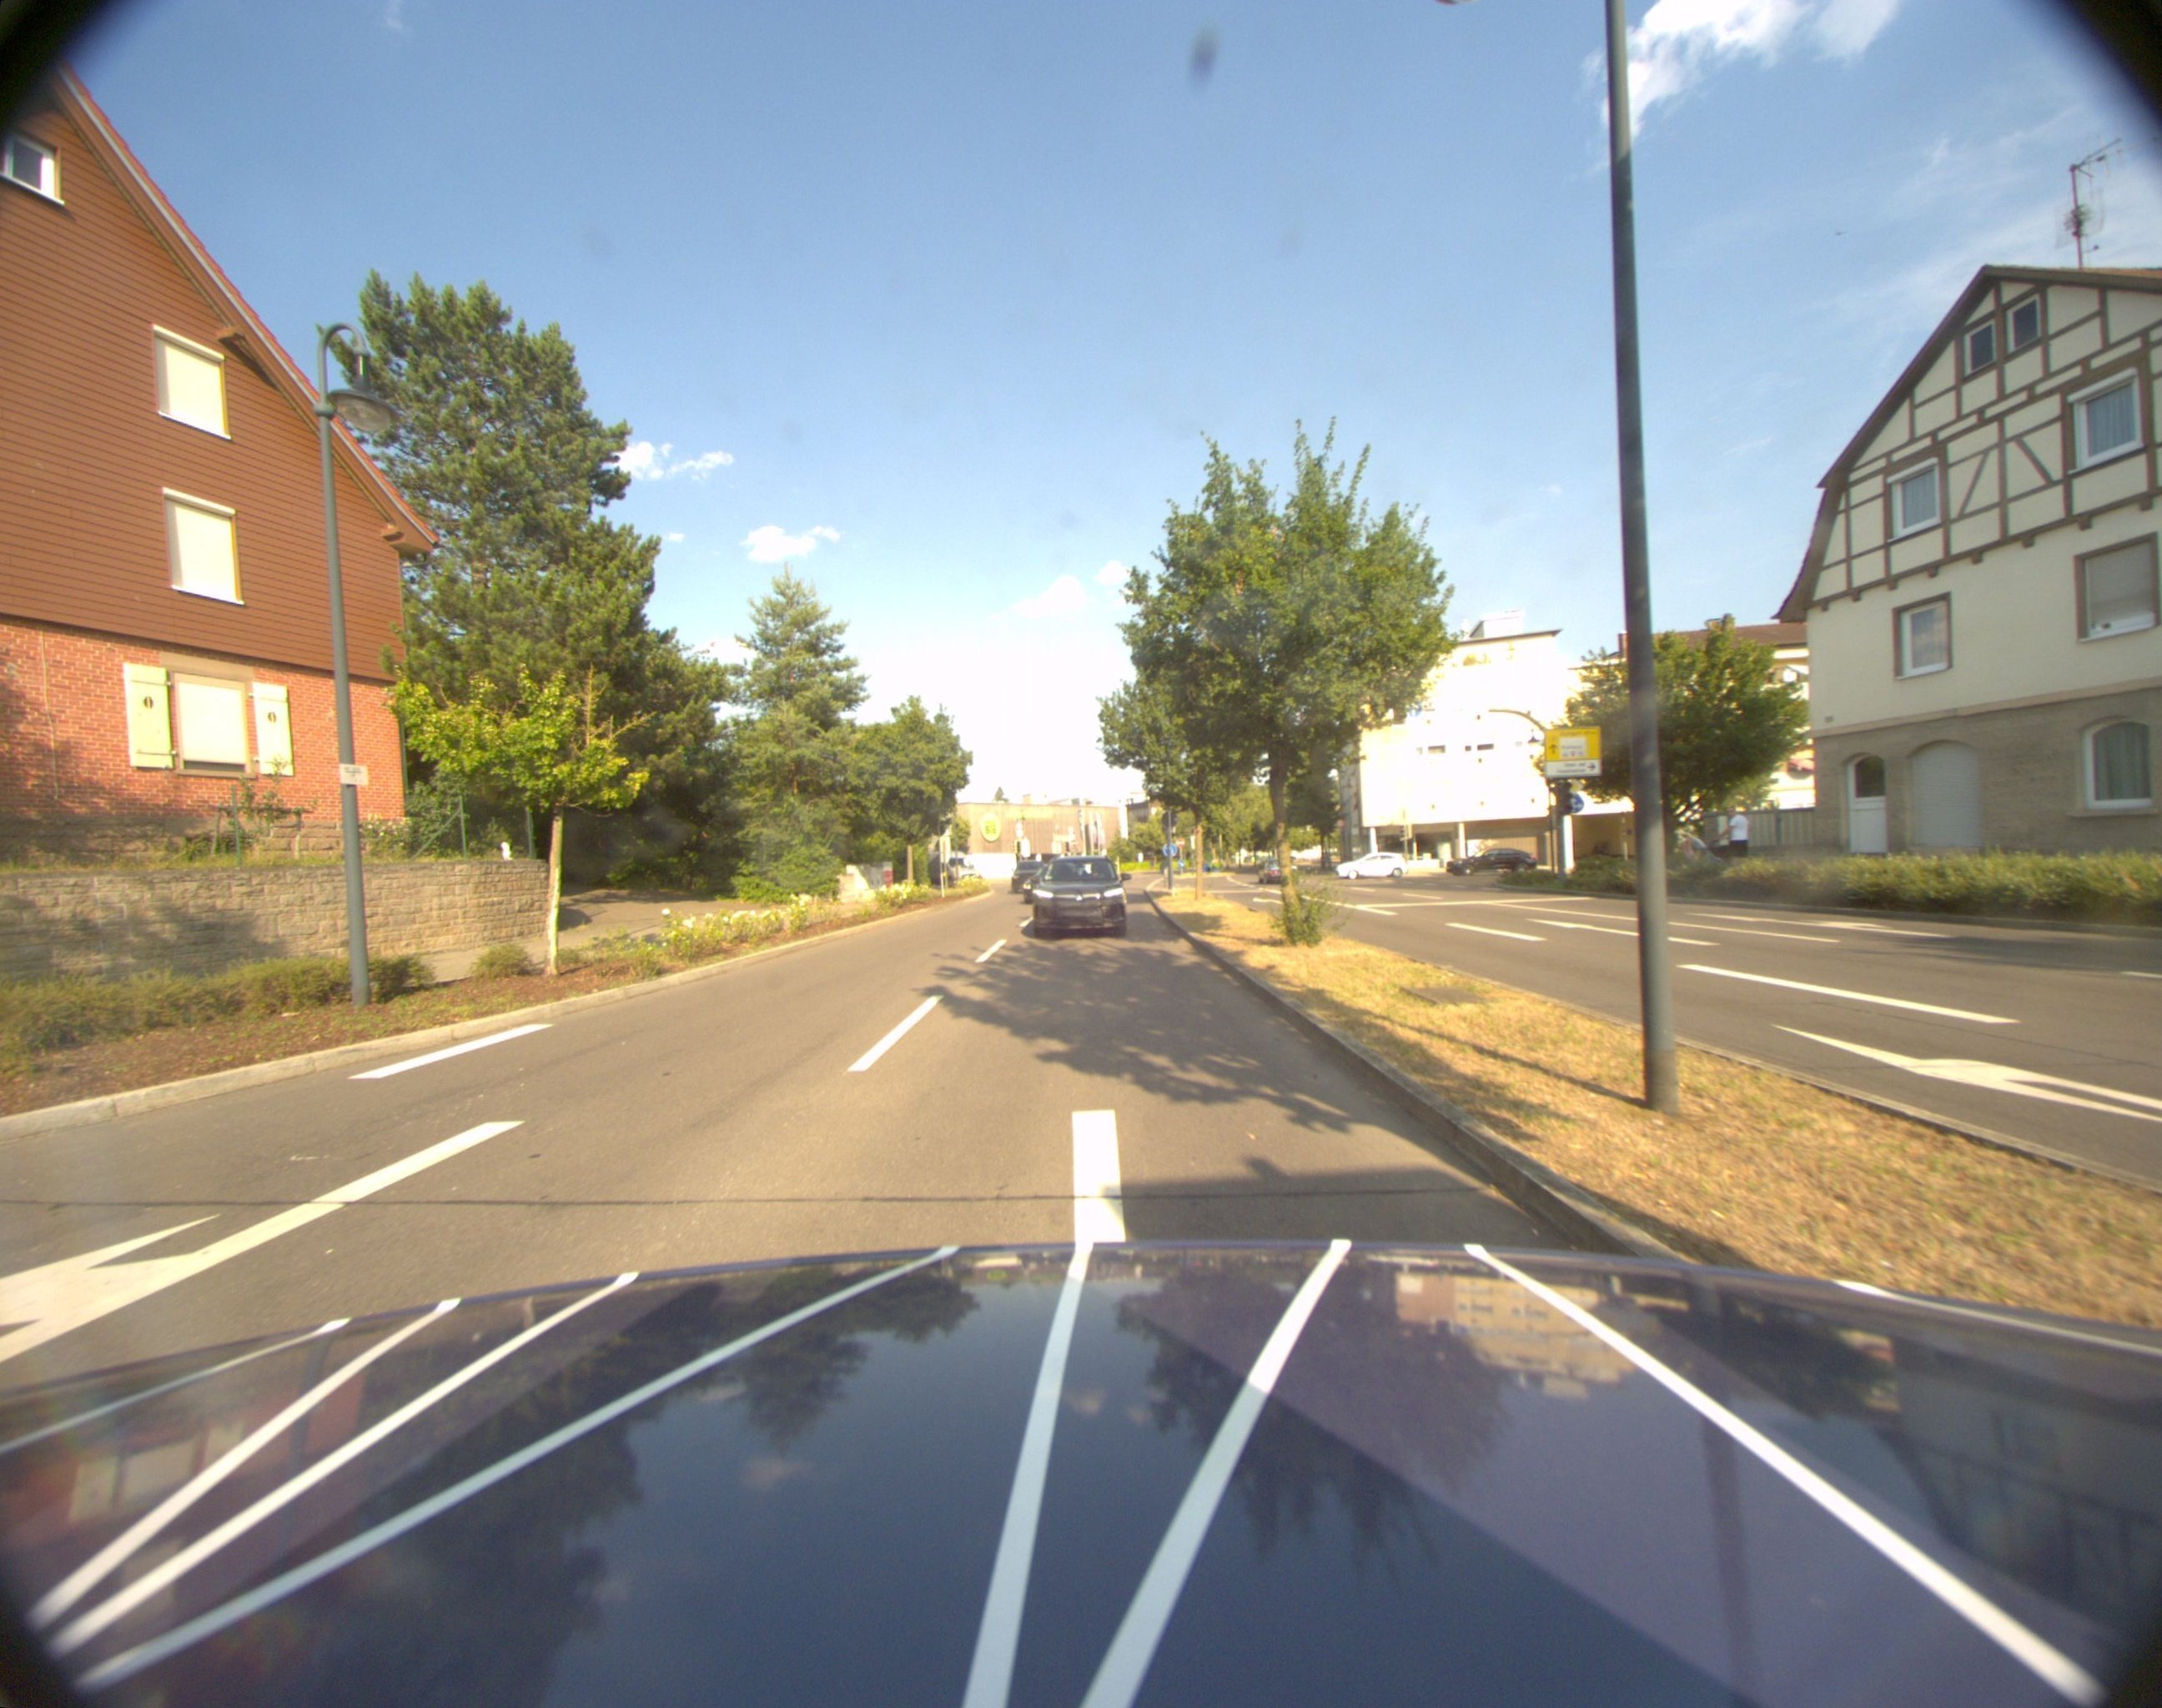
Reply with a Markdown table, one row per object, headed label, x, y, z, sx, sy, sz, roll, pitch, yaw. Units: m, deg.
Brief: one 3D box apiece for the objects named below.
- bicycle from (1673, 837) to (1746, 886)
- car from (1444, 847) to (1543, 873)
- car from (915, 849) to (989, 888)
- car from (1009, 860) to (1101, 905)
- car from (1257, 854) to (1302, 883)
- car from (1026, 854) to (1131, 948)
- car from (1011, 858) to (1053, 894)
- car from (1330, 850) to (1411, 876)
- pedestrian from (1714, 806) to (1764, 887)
| label | x | y | z | sx | sy | sz | roll | pitch | yaw |
| --- | --- | --- | --- | --- | --- | --- | --- | --- | --- |
| bicycle | 16.496 | 0.187 | 19.996 | 0.681 | 1.215 | 1.514 | -2 | 1 | 2 |
| car | 23.566 | 0.336 | 43.565 | 4.661 | 1.346 | 1.768 | -2 | 1 | 8 |
| car | -9.207 | 1.024 | 53.930 | 2.377 | 2.532 | 6.176 | -3 | 1 | -39 |
| car | -0.852 | 1.020 | 28.459 | 1.683 | 1.427 | 4.596 | -2 | 1 | 22 |
| car | 10.448 | 0.734 | 40.197 | 1.765 | 1.346 | 4.164 | -2 | 1 | 7 |
| car | -0.021 | 0.878 | 16.507 | 1.894 | 1.647 | 4.729 | -2 | 1 | 1 |
| car | -2.419 | 1.044 | 37.589 | 1.886 | 1.599 | 4.126 | -2 | 1 | -4 |
| car | 16.988 | 0.546 | 44.782 | 4.126 | 1.346 | 1.768 | -2 | 1 | 6 |
| pedestrian | 16.466 | -0.175 | 19.024 | 0.699 | 1.971 | 0.588 | -2 | 1 | 1 |
